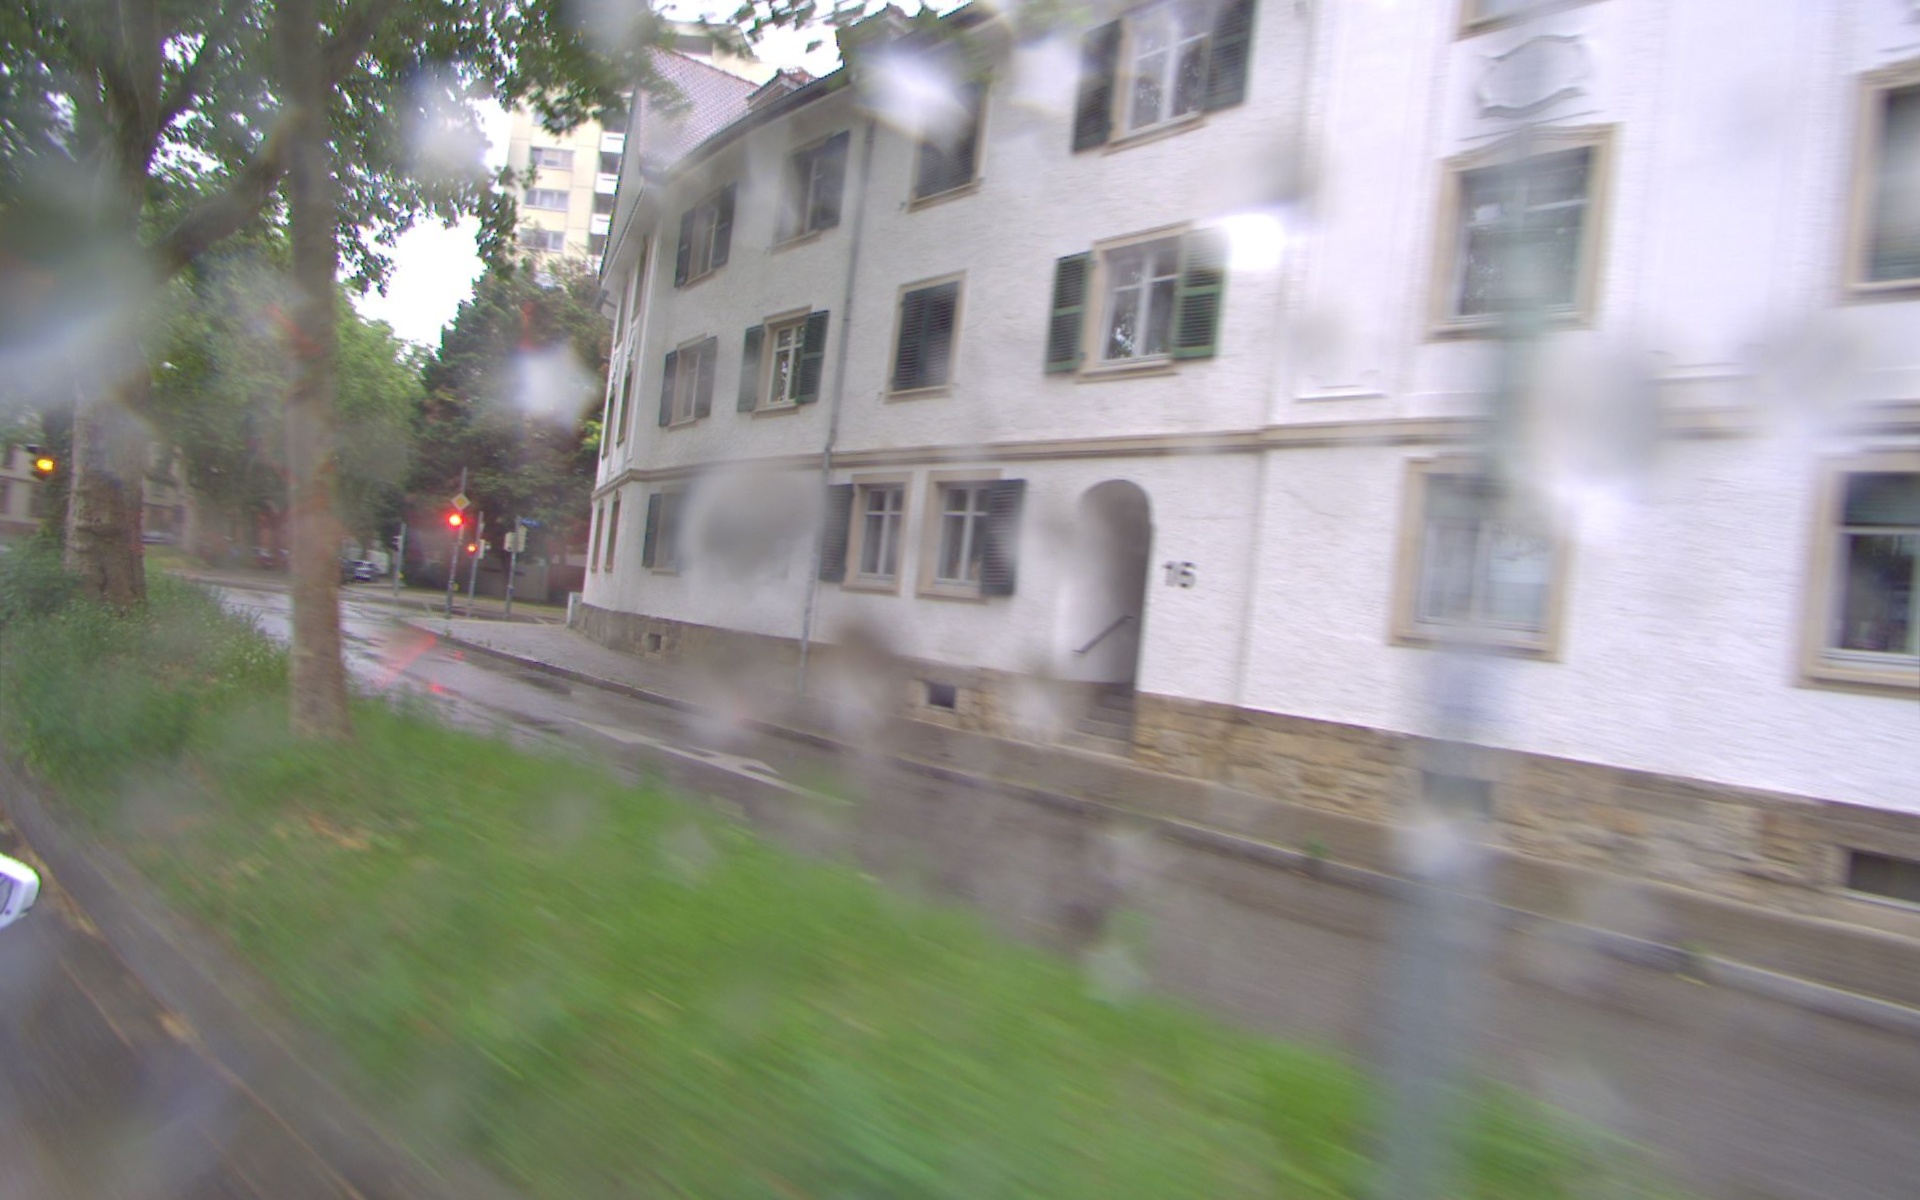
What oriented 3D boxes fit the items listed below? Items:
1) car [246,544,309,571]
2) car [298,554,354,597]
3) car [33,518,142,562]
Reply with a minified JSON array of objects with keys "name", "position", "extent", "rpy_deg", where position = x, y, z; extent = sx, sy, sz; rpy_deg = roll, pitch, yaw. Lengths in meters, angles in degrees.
[{"name":"car","position":[-52.307,-3.263,77.145],"extent":[3.560,1.638,1.677],"rpy_deg":[6,0,-14]},{"name":"car","position":[-34.242,-1.320,54.424],"extent":[1.975,2.039,3.975],"rpy_deg":[6,0,-26]},{"name":"car","position":[-39.293,-2.676,45.396],"extent":[3.455,1.542,1.506],"rpy_deg":[6,0,-34]}]
